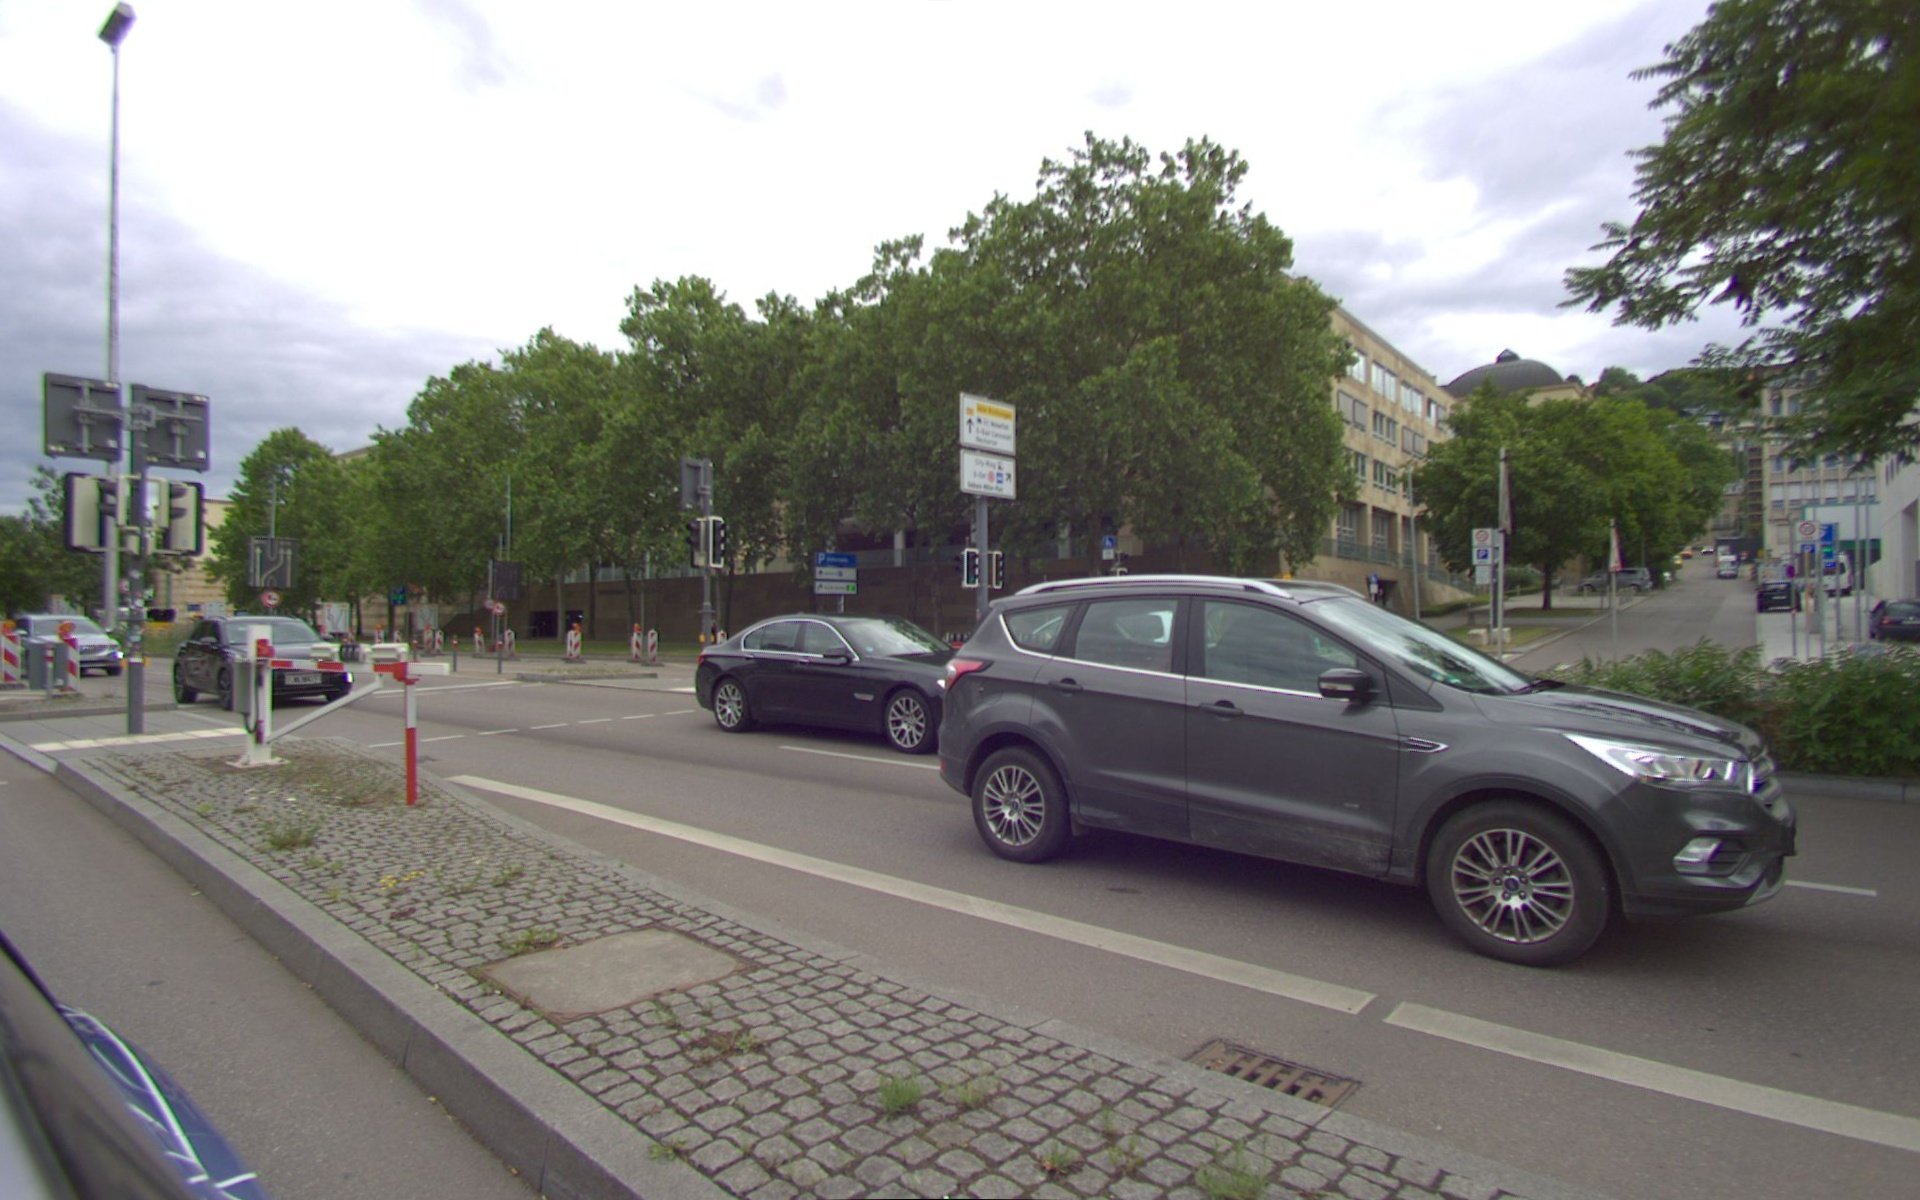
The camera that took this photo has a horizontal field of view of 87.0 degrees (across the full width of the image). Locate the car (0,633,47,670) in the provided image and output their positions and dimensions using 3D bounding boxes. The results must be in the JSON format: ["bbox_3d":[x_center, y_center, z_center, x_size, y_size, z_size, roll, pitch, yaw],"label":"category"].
[{"bbox_3d":[-41.043,2.190,43.456,4.803,1.494,1.974,-1,-1,39],"label":"car"}]

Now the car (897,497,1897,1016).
[{"bbox_3d":[1.958,0.593,5.634,4.655,1.728,1.874,-2,-3,41],"label":"car"}]

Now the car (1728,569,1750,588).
[{"bbox_3d":[92.202,-2.476,119.836,1.997,2.029,3.949,-1,-2,38],"label":"car"}]

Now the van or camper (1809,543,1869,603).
[{"bbox_3d":[51.945,-1.615,59.922,2.394,3.372,6.251,-1,1,38],"label":"van or camper"}]

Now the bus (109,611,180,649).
[{"bbox_3d":[-74.579,2.739,92.482,10.437,3.330,2.884,-1,-2,39],"label":"bus"}]

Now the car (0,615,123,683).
[{"bbox_3d":[-24.255,1.234,27.102,4.734,1.629,1.974,0,-1,40],"label":"car"}]

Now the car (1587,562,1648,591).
[{"bbox_3d":[50.283,-1.760,77.420,3.682,2.029,1.567,-1,-2,42],"label":"car"}]

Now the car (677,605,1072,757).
[{"bbox_3d":[-1.193,0.852,12.287,4.805,1.494,1.973,-1,-1,40],"label":"car"}]

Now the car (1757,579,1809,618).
[{"bbox_3d":[42.893,-0.095,52.722,1.999,1.863,3.947,0,2,40],"label":"car"}]

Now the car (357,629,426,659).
[{"bbox_3d":[-28.122,2.155,50.010,3.997,1.383,1.707,-2,-2,41],"label":"car"}]

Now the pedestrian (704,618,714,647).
[{"bbox_3d":[-14.543,1.880,58.667,0.443,1.619,0.351,-1,1,34],"label":"pedestrian"}]

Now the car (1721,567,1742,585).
[{"bbox_3d":[95.561,-2.928,125.379,1.997,2.029,3.949,-1,-2,38],"label":"car"}]

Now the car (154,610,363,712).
[{"bbox_3d":[-12.227,0.964,17.570,4.145,1.527,1.747,0,0,37],"label":"car"}]

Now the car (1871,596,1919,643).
[{"bbox_3d":[31.358,0.609,33.354,1.750,1.285,3.948,0,2,39],"label":"car"}]
